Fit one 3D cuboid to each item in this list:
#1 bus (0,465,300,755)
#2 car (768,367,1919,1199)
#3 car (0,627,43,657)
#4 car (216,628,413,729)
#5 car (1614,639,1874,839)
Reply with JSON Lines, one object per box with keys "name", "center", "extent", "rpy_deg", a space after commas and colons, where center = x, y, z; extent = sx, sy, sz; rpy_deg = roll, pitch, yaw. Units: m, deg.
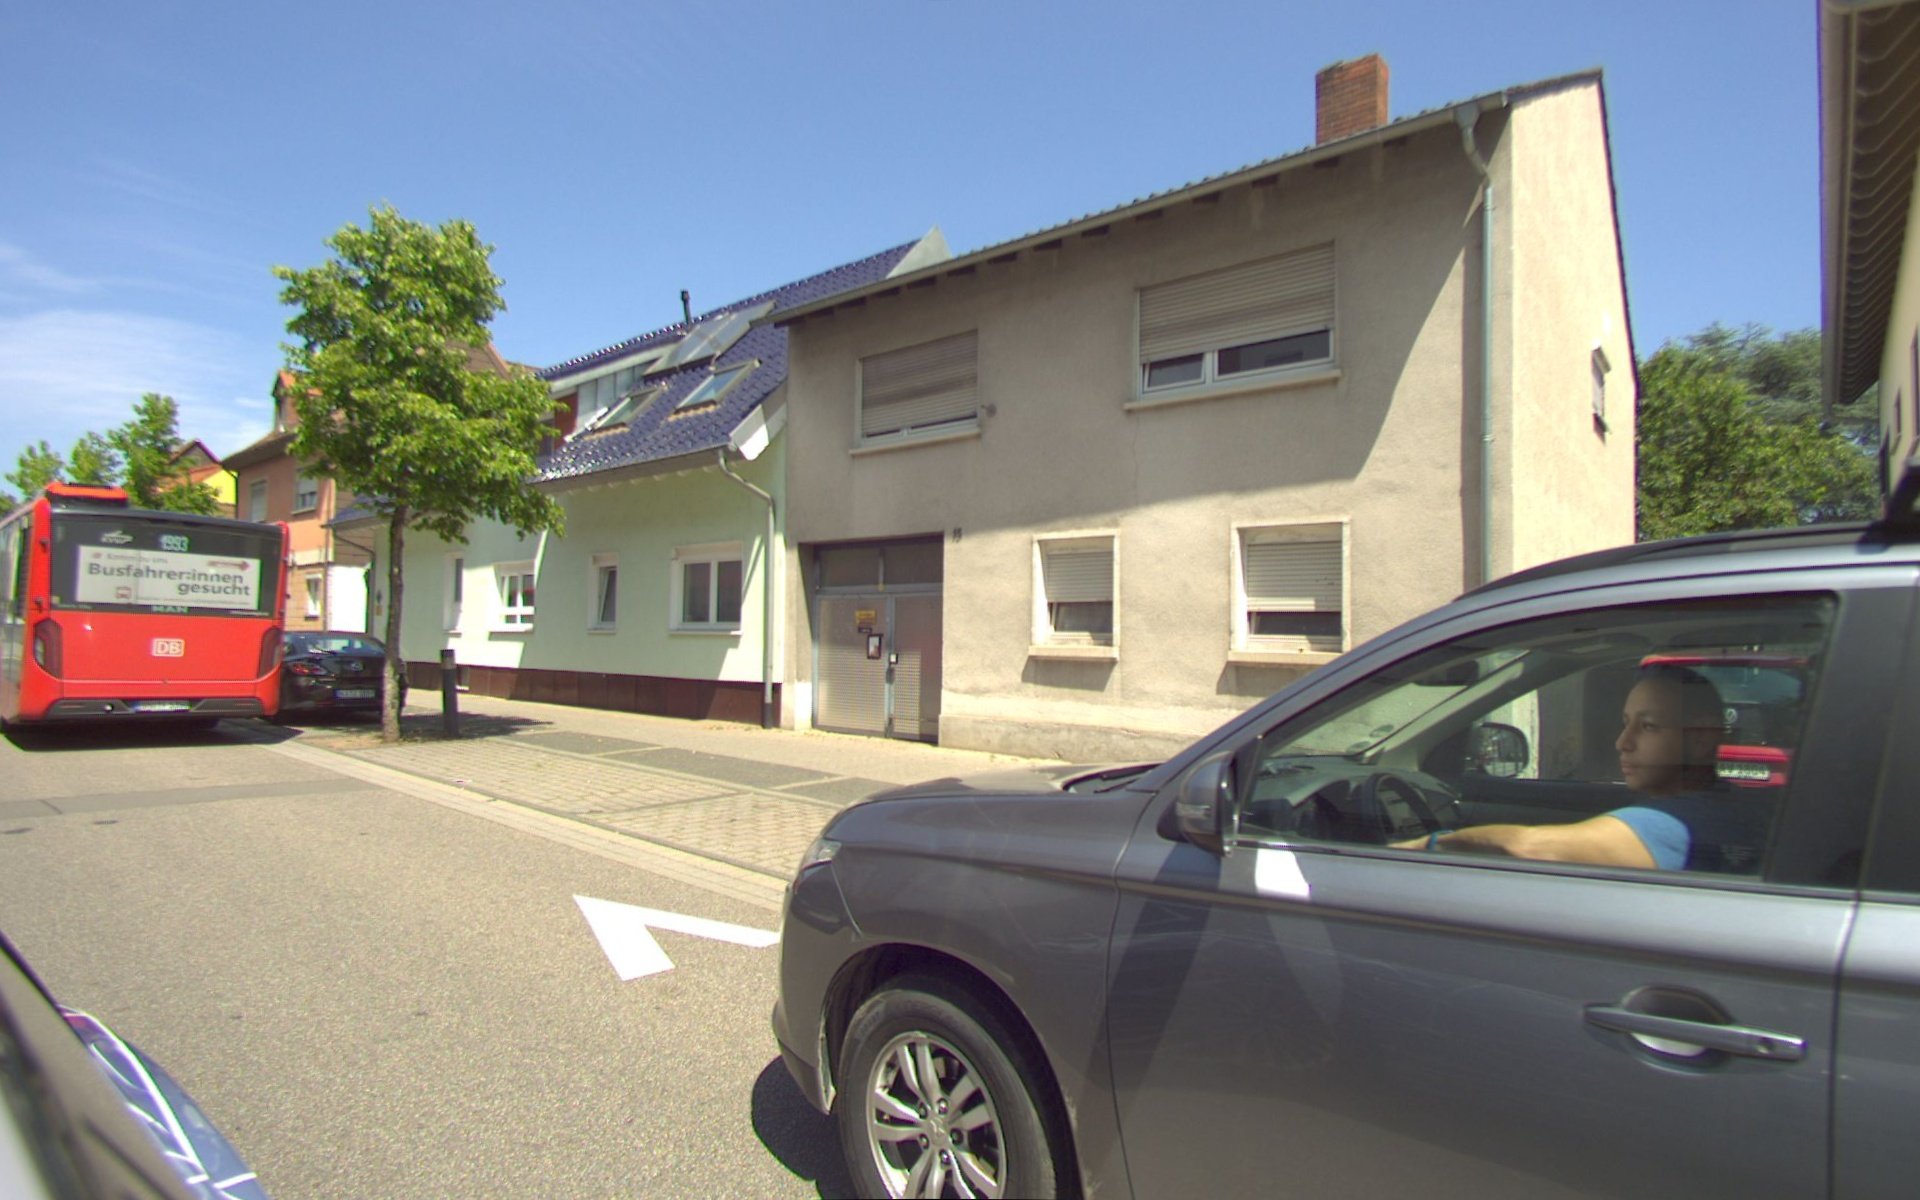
{"name": "bus", "center": [-15.957, 0.313, 17.945], "extent": [17.803, 3.147, 2.640], "rpy_deg": [-1, -4, 43]}
{"name": "car", "center": [1.654, 0.621, 1.796], "extent": [4.230, 1.729, 1.657], "rpy_deg": [-1, -3, 41]}
{"name": "car", "center": [-46.048, 2.016, 49.282], "extent": [4.157, 1.418, 1.638], "rpy_deg": [-1, -3, 43]}
{"name": "car", "center": [-10.781, 1.204, 16.759], "extent": [4.538, 1.448, 1.642], "rpy_deg": [-1, -3, 43]}
{"name": "car", "center": [6.989, 1.100, 9.166], "extent": [1.584, 1.454, 3.085], "rpy_deg": [-1, -3, 37]}
